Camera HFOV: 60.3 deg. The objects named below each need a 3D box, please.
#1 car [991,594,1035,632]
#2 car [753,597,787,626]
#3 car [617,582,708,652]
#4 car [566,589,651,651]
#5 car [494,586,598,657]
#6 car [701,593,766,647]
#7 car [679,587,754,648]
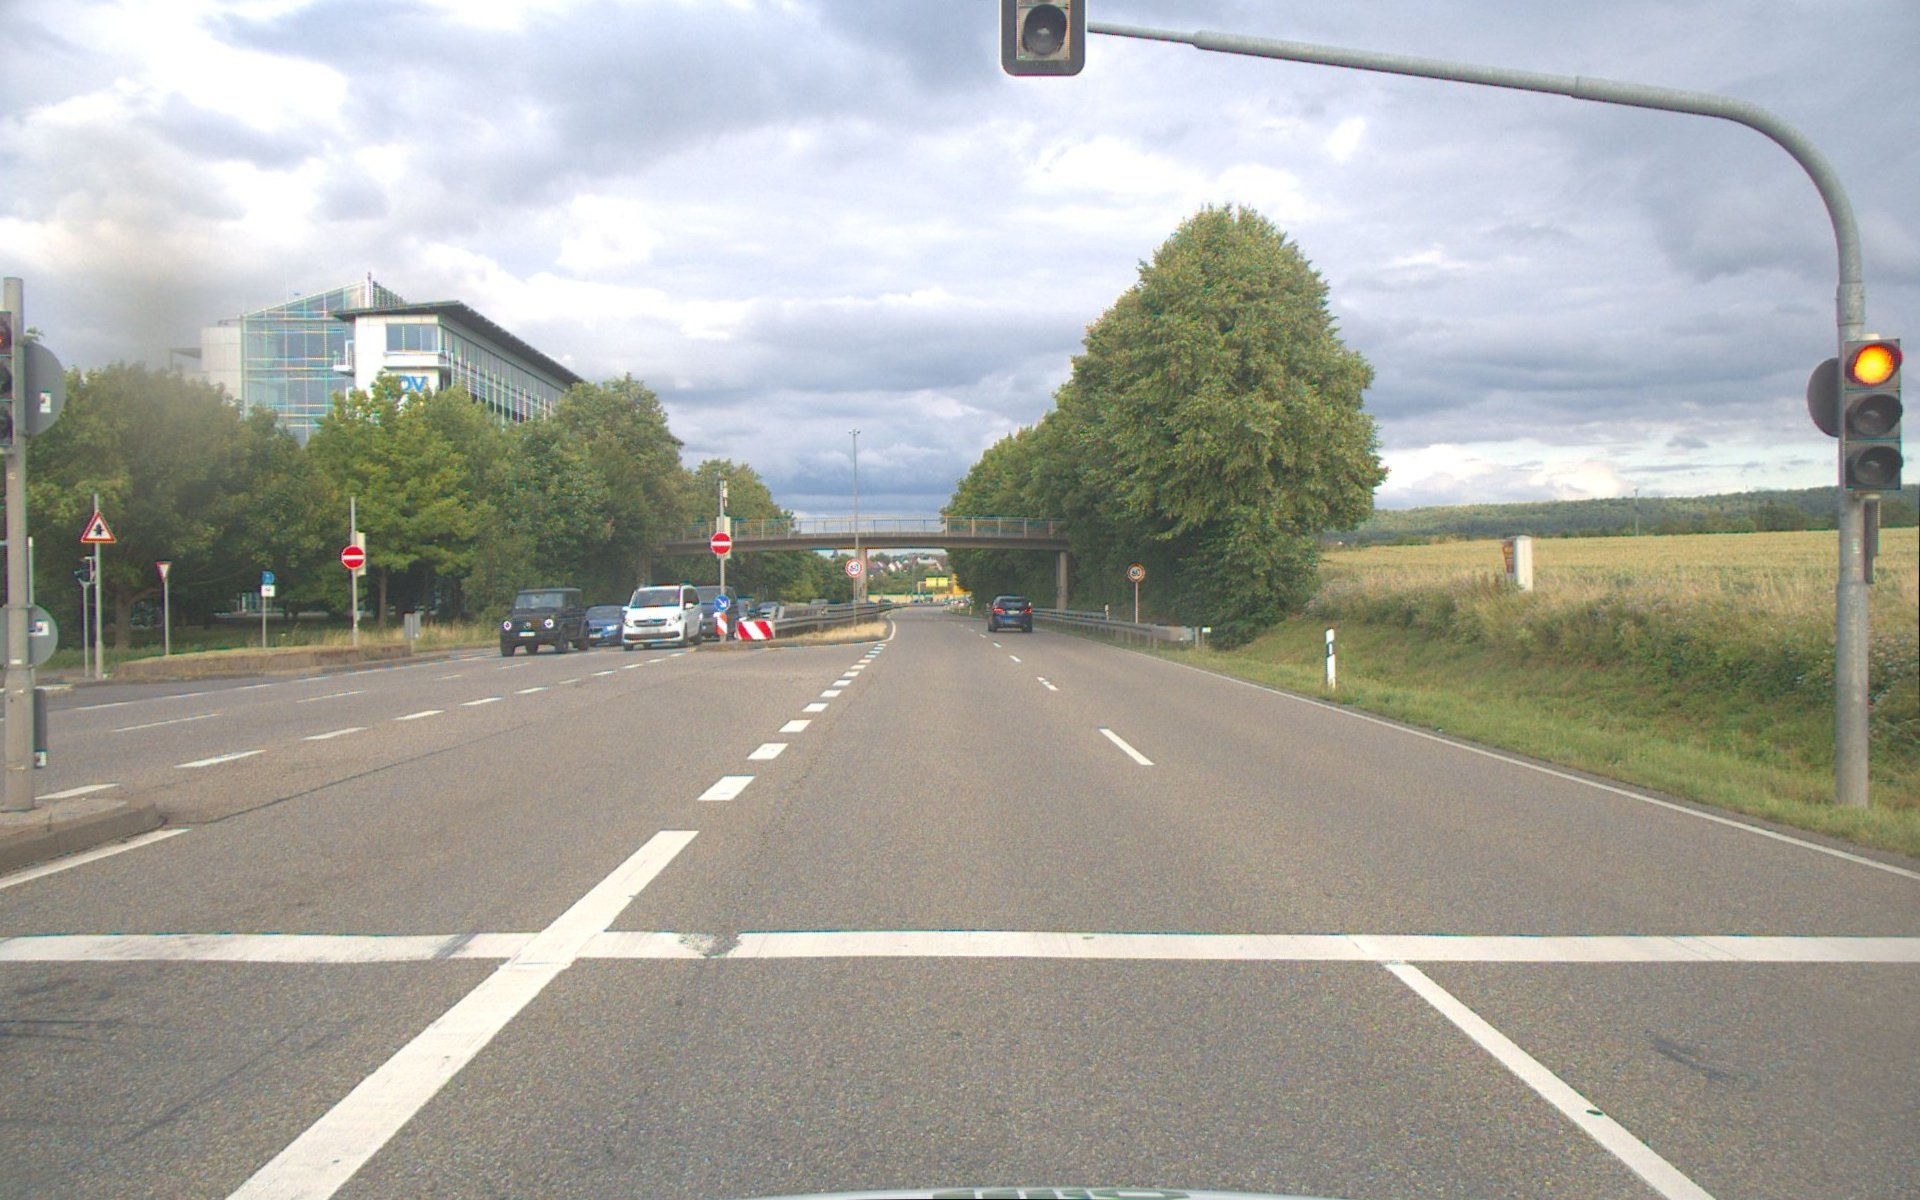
[{"bbox_3d":[2.315,0.555,72.758,1.841,1.579,4.000,1,0,1],"label":"car"},{"bbox_3d":[-13.674,0.813,119.242,2.041,2.049,5.214,1,0,-2],"label":"car"},{"bbox_3d":[-9.188,0.511,51.463,2.041,2.049,5.214,1,0,-2],"label":"car"},{"bbox_3d":[-12.420,0.695,58.799,2.041,2.049,5.214,1,0,-2],"label":"car"},{"bbox_3d":[-12.748,0.654,51.293,2.041,2.049,5.214,1,0,-2],"label":"car"},{"bbox_3d":[-9.102,0.797,66.765,2.041,2.049,5.214,1,0,-2],"label":"car"},{"bbox_3d":[-8.656,0.601,59.208,2.041,2.049,5.214,1,0,-2],"label":"car"}]
